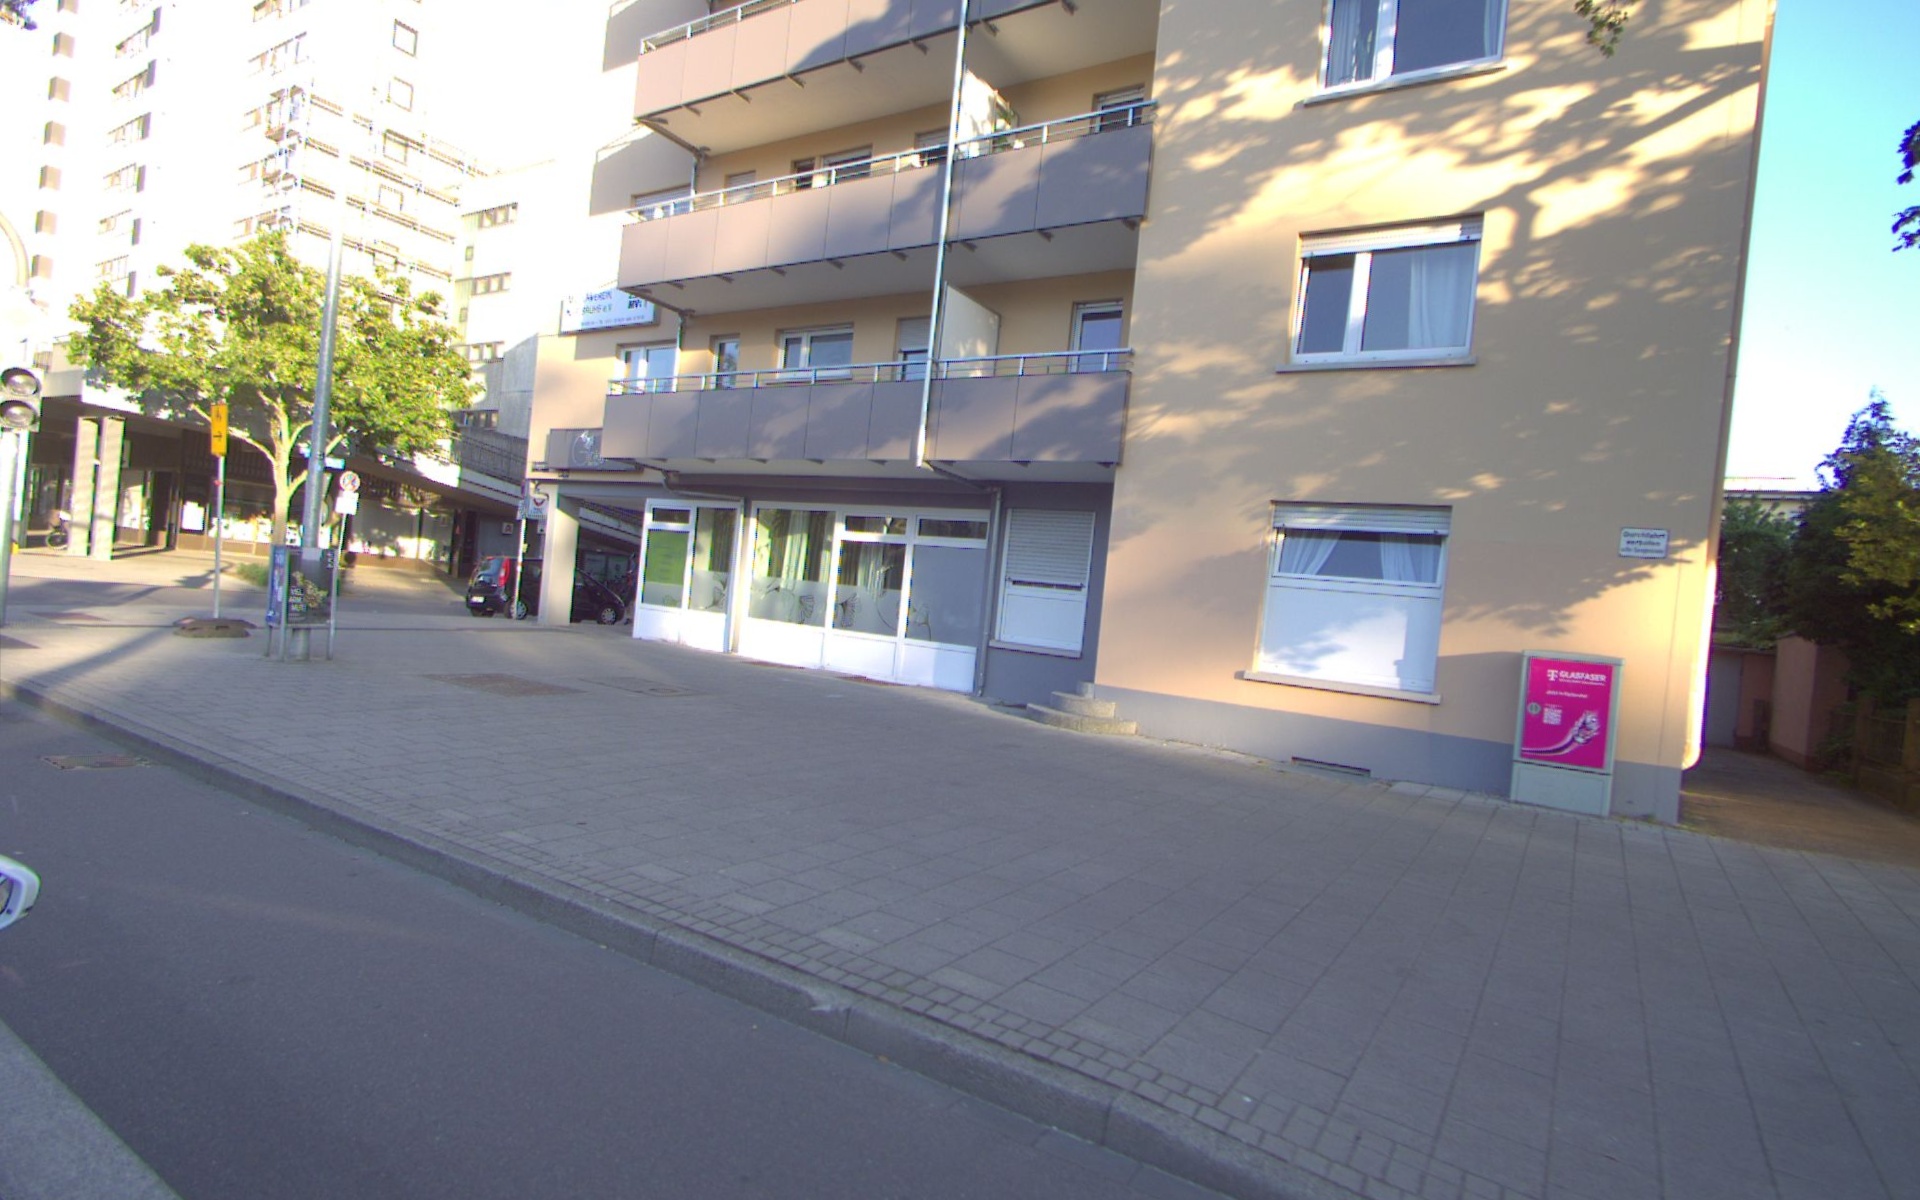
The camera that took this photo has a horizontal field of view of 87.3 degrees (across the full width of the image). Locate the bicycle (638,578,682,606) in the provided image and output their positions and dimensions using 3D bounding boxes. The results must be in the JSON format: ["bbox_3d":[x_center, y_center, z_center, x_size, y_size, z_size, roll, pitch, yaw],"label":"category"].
[{"bbox_3d":[-14.370,-0.387,48.229,1.940,1.086,0.583,6,-3,20],"label":"bicycle"}]

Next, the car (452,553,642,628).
[{"bbox_3d":[-10.104,-0.183,24.875,1.680,1.605,4.037,2,-1,36],"label":"car"}]

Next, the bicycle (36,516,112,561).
[{"bbox_3d":[-28.270,-1.975,32.104,1.984,1.162,0.692,6,-3,13],"label":"bicycle"}]

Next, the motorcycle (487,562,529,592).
[{"bbox_3d":[-18.860,-0.950,41.948,1.847,1.086,0.646,5,-3,35],"label":"motorcycle"}]

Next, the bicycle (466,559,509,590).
[{"bbox_3d":[-19.554,-1.060,41.590,1.946,1.086,0.582,5,-3,35],"label":"bicycle"}]

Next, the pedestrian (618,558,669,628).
[{"bbox_3d":[-7.663,-0.166,24.363,0.637,1.606,0.836,6,1,31],"label":"pedestrian"}]

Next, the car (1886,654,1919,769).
[{"bbox_3d":[15.451,1.819,14.471,1.794,1.780,4.513,7,2,27],"label":"car"}]

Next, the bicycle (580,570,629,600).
[{"bbox_3d":[-16.202,-0.670,45.826,1.939,1.086,0.584,6,-3,8],"label":"bicycle"}]

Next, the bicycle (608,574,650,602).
[{"bbox_3d":[-15.359,-0.567,46.682,1.943,1.086,0.582,5,-3,28],"label":"bicycle"}]

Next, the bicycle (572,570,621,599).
[{"bbox_3d":[-16.389,-0.700,45.382,1.939,1.086,0.584,6,-3,13],"label":"bicycle"}]

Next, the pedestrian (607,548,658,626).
[{"bbox_3d":[-8.178,-0.324,25.118,0.638,1.851,0.834,6,1,38],"label":"pedestrian"}]

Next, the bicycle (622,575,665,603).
[{"bbox_3d":[-14.787,-0.524,47.039,1.942,1.086,0.583,5,-3,26],"label":"bicycle"}]

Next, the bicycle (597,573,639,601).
[{"bbox_3d":[-15.721,-0.601,46.241,1.943,1.086,0.582,5,-3,28],"label":"bicycle"}]
